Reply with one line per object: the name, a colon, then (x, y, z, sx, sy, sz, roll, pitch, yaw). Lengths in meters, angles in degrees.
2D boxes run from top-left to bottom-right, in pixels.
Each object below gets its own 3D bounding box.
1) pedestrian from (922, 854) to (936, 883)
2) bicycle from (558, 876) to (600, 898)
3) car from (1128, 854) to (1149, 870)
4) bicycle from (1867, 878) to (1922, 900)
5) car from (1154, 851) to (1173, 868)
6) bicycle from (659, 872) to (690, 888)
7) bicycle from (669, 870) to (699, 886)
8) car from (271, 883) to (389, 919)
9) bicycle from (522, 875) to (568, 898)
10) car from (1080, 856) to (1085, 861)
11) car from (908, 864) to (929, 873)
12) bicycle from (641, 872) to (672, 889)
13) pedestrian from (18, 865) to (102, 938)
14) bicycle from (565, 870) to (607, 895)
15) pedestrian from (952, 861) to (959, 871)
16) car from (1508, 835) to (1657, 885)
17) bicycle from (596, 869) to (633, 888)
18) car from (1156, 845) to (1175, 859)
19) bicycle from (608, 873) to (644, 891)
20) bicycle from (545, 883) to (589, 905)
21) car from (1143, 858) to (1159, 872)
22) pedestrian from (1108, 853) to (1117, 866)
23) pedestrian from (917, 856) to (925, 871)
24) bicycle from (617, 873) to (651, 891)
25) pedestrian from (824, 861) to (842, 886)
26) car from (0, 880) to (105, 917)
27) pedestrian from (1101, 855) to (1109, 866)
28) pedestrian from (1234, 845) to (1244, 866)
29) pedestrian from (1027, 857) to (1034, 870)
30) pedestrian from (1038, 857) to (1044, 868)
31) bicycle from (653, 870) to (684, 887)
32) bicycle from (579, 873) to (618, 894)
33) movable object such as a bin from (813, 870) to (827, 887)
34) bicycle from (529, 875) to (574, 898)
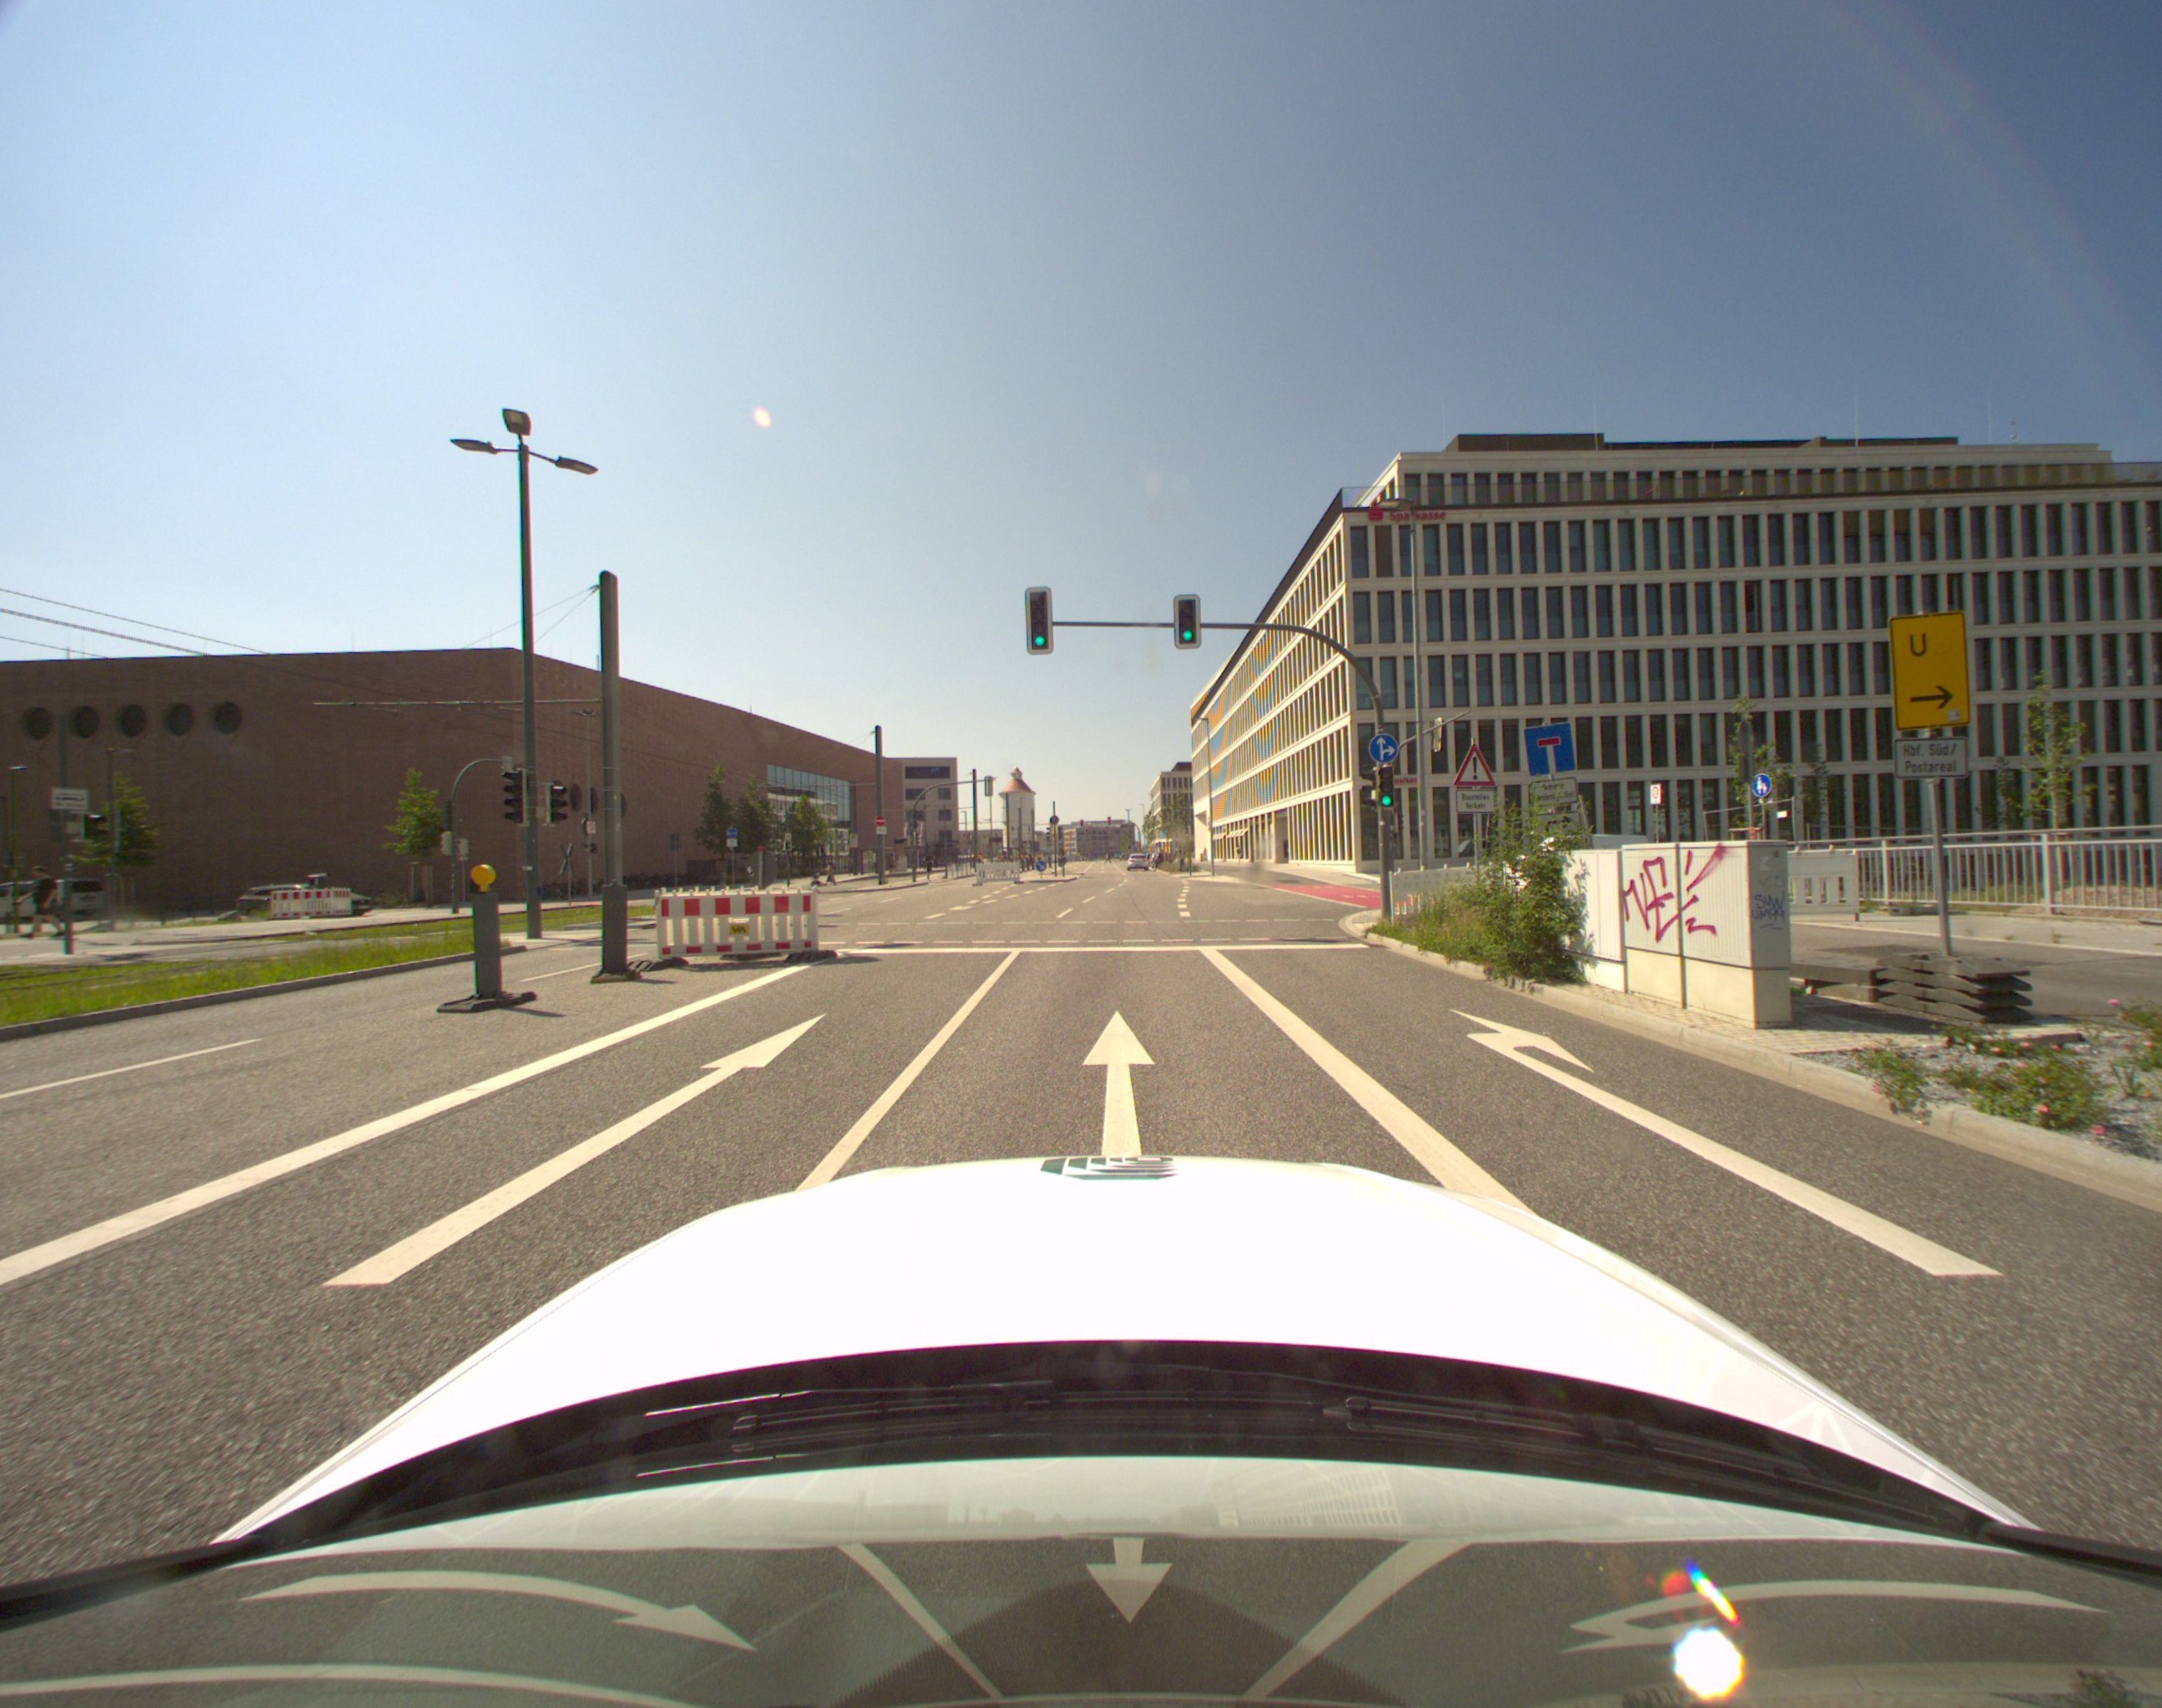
pedestrian: (-9.655, 0.911, 51.736, 0.649, 1.833, 0.662, 0, 0, 6)
bicycle: (-29.495, 1.944, 47.879, 2.052, 1.212, 0.537, -1, 0, -11)
car: (4.984, 0.723, 70.598, 1.764, 1.395, 3.534, 0, -1, 3)
bicycle: (38.847, 1.654, 38.922, 0.704, 0.992, 1.989, -1, 0, 5)
car: (7.904, 0.535, 77.518, 1.727, 1.474, 3.987, -1, -1, 6)
bicycle: (-32.203, 2.055, 64.514, 2.051, 1.212, 0.538, -1, 0, -10)
bicycle: (-31.872, 1.921, 65.357, 2.051, 1.212, 0.538, -1, 0, -10)
car: (-31.465, 1.971, 34.202, 3.466, 1.370, 1.573, -1, 0, 0)
bicycle: (-29.422, 1.784, 44.706, 2.051, 1.212, 0.538, -1, 0, -10)
car: (0.391, 1.435, 246.568, 1.581, 1.530, 3.692, -1, -1, 0)
car: (-31.888, 2.819, 159.852, 3.942, 1.816, 1.791, -1, -1, -11)
bicycle: (-31.751, 1.987, 60.911, 1.881, 1.212, 0.745, -1, -1, -6)
pedestrian: (-26.937, 1.232, 21.508, 0.807, 1.847, 1.108, -1, -1, 4)
bicycle: (-30.028, 1.735, 49.422, 2.051, 1.453, 0.538, -1, 0, -10)
pedestrian: (-18.802, 1.787, 122.024, 0.708, 1.572, 0.891, -2, 0, 1)
car: (24.076, 0.285, 39.257, 5.815, 2.270, 2.147, 1, 0, 1)
bicycle: (-30.809, 1.607, 53.800, 2.051, 1.212, 0.538, -1, -1, -10)
car: (8.574, -0.157, 82.844, 1.599, 1.388, 3.816, 0, 0, 2)
bicycle: (-30.890, 1.895, 55.289, 2.051, 1.212, 0.538, -1, 0, -10)
bicycle: (-29.525, 2.298, 46.775, 2.051, 1.212, 0.538, -1, 0, -10)
car: (7.969, 1.268, 92.600, 1.550, 1.472, 3.471, -2, 0, 1)
pedestrian: (4.859, 0.811, 125.891, 1.022, 2.014, 0.949, -2, -1, -17)
pedestrian: (-18.882, 1.134, 95.983, 0.808, 1.820, 0.825, 0, -1, 2)
bicycle: (-31.352, 1.942, 57.126, 2.051, 1.212, 0.538, -1, 0, -10)
pedestrian: (-15.904, 1.271, 52.248, 0.935, 1.562, 0.786, -1, 0, -31)
car: (-50.223, 2.149, 39.587, 3.530, 1.690, 1.694, -1, 0, 1)
pedestrian: (3.673, 1.021, 125.392, 0.895, 1.674, 1.007, -2, -1, -17)
pedestrian: (13.761, 0.125, 70.874, 0.625, 1.742, 0.814, -2, 0, 1)
pedestrian: (-7.451, 1.440, 120.206, 0.763, 1.890, 0.692, -2, -1, 2)
pedestrian: (-6.002, 1.269, 123.284, 0.763, 1.734, 0.692, -2, -1, 2)
bicycle: (-31.907, 1.902, 63.008, 2.051, 1.212, 0.538, -1, 0, -10)
bicycle: (-30.475, 1.855, 51.457, 2.051, 1.212, 0.538, -1, 0, -10)
movable object such as a bin: (-16.616, 1.549, 51.815, 0.717, 1.032, 0.786, -1, 0, -31)
bicycle: (-29.594, 1.815, 45.510, 2.051, 1.212, 0.538, -1, 0, -10)
